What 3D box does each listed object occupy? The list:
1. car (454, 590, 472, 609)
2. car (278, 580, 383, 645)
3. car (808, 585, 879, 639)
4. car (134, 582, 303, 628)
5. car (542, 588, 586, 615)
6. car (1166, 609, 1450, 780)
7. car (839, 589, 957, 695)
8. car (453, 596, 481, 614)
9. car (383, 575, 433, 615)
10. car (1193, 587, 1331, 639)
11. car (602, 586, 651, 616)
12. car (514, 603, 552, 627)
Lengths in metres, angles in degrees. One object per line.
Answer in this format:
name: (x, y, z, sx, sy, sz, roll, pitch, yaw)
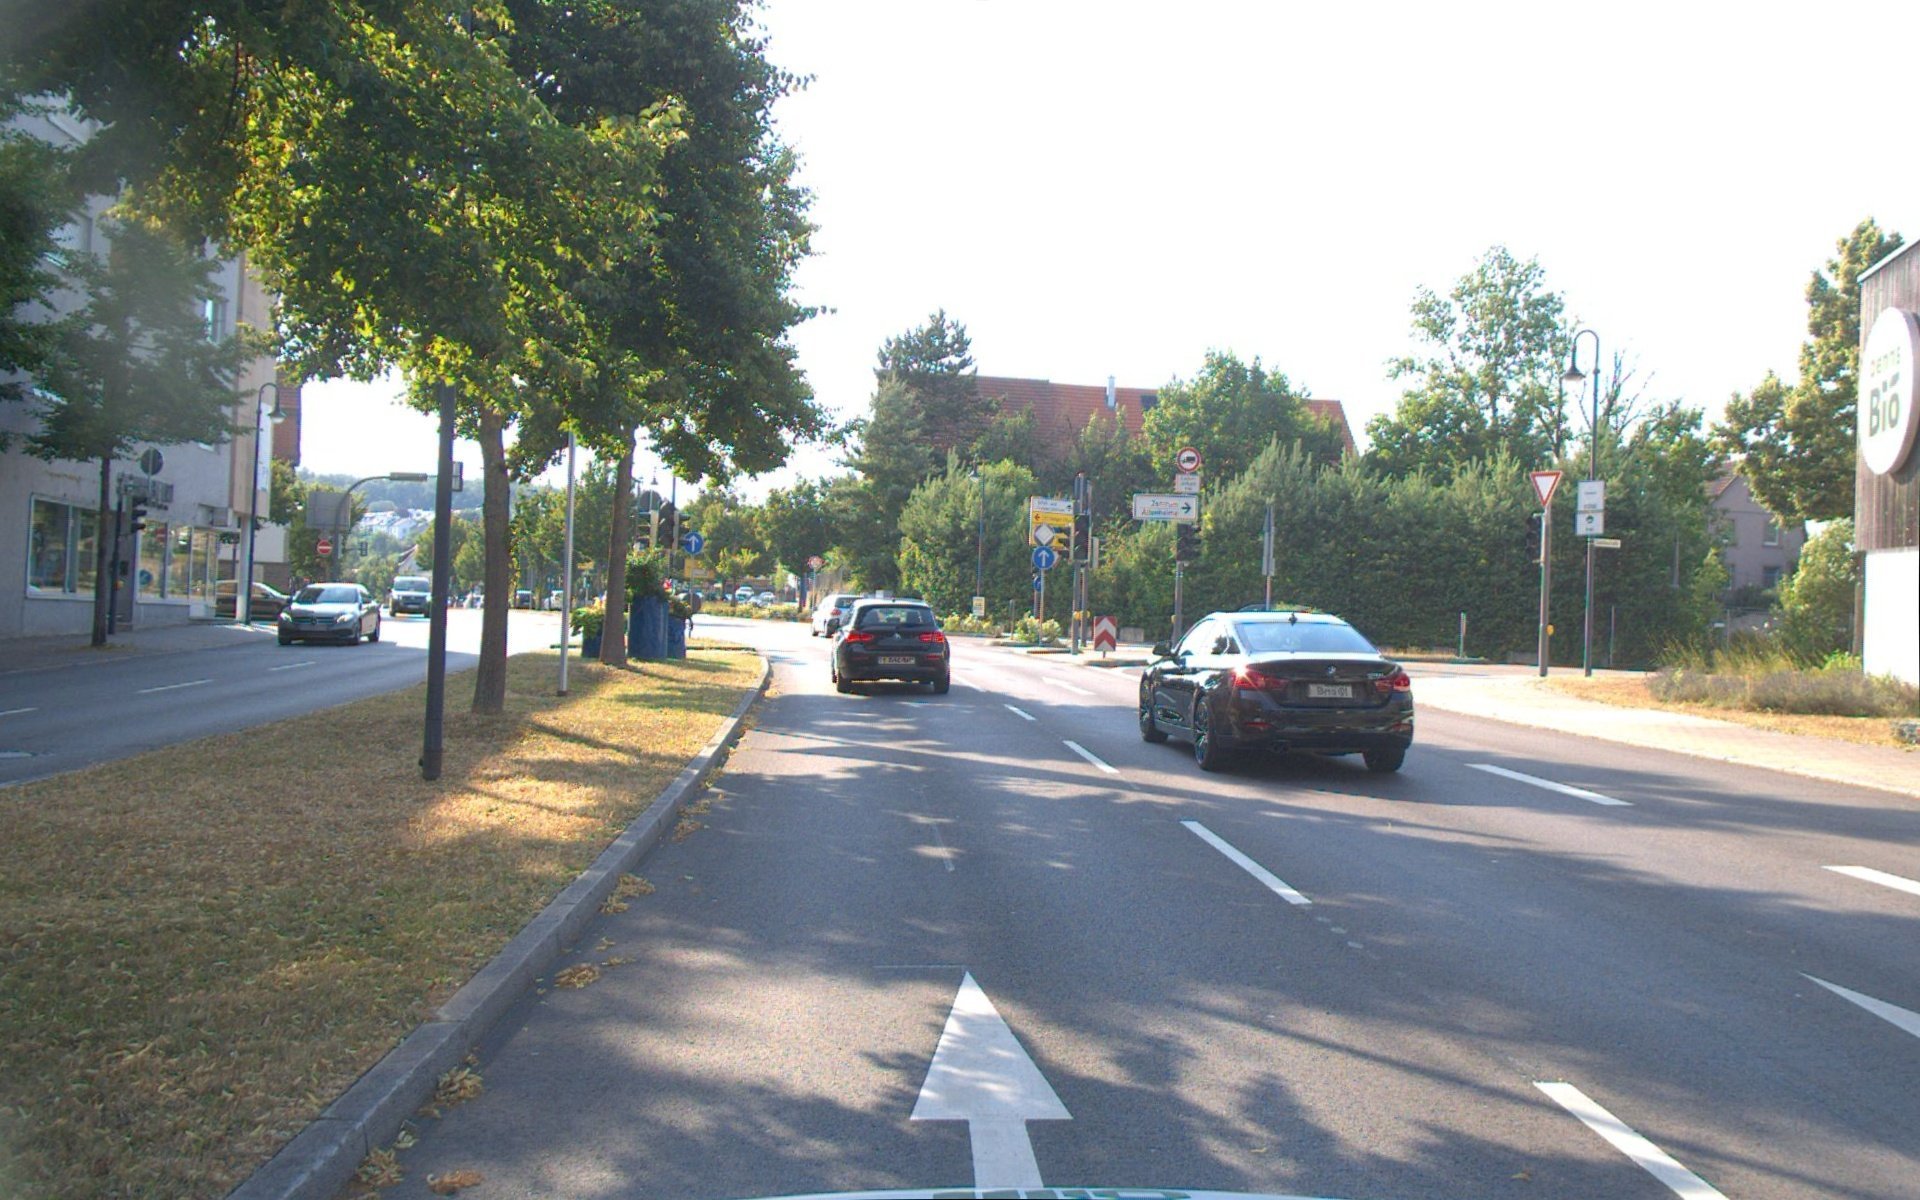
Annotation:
car: (-52.866, -0.071, 175.923, 1.745, 2.049, 3.979, 1, 0, -18)
car: (-15.608, 0.308, 41.234, 1.821, 1.512, 4.978, 1, 0, -14)
car: (-4.159, 0.411, 58.241, 1.891, 1.800, 4.441, 1, 0, -12)
car: (-24.417, 0.176, 54.618, 4.774, 1.462, 1.911, 1, 0, -13)
car: (-26.802, 0.089, 111.781, 2.187, 1.800, 4.423, 1, 0, -23)
car: (3.154, 0.799, 15.874, 1.881, 1.388, 4.353, 1, 0, 1)
car: (-0.912, 0.634, 26.530, 1.686, 1.516, 4.352, 2, 0, 0)
car: (-49.061, 0.501, 164.674, 2.187, 1.800, 4.423, 1, 0, -23)
car: (-25.521, -0.221, 76.383, 1.827, 1.767, 4.888, 1, 0, -23)
car: (10.103, 0.421, 55.415, 4.177, 1.594, 1.789, 1, 0, 29)
car: (-21.014, 0.075, 104.138, 2.187, 1.800, 4.423, 1, 0, -23)
car: (-32.880, 1.141, 127.368, 2.187, 1.800, 4.423, 1, 0, -23)
